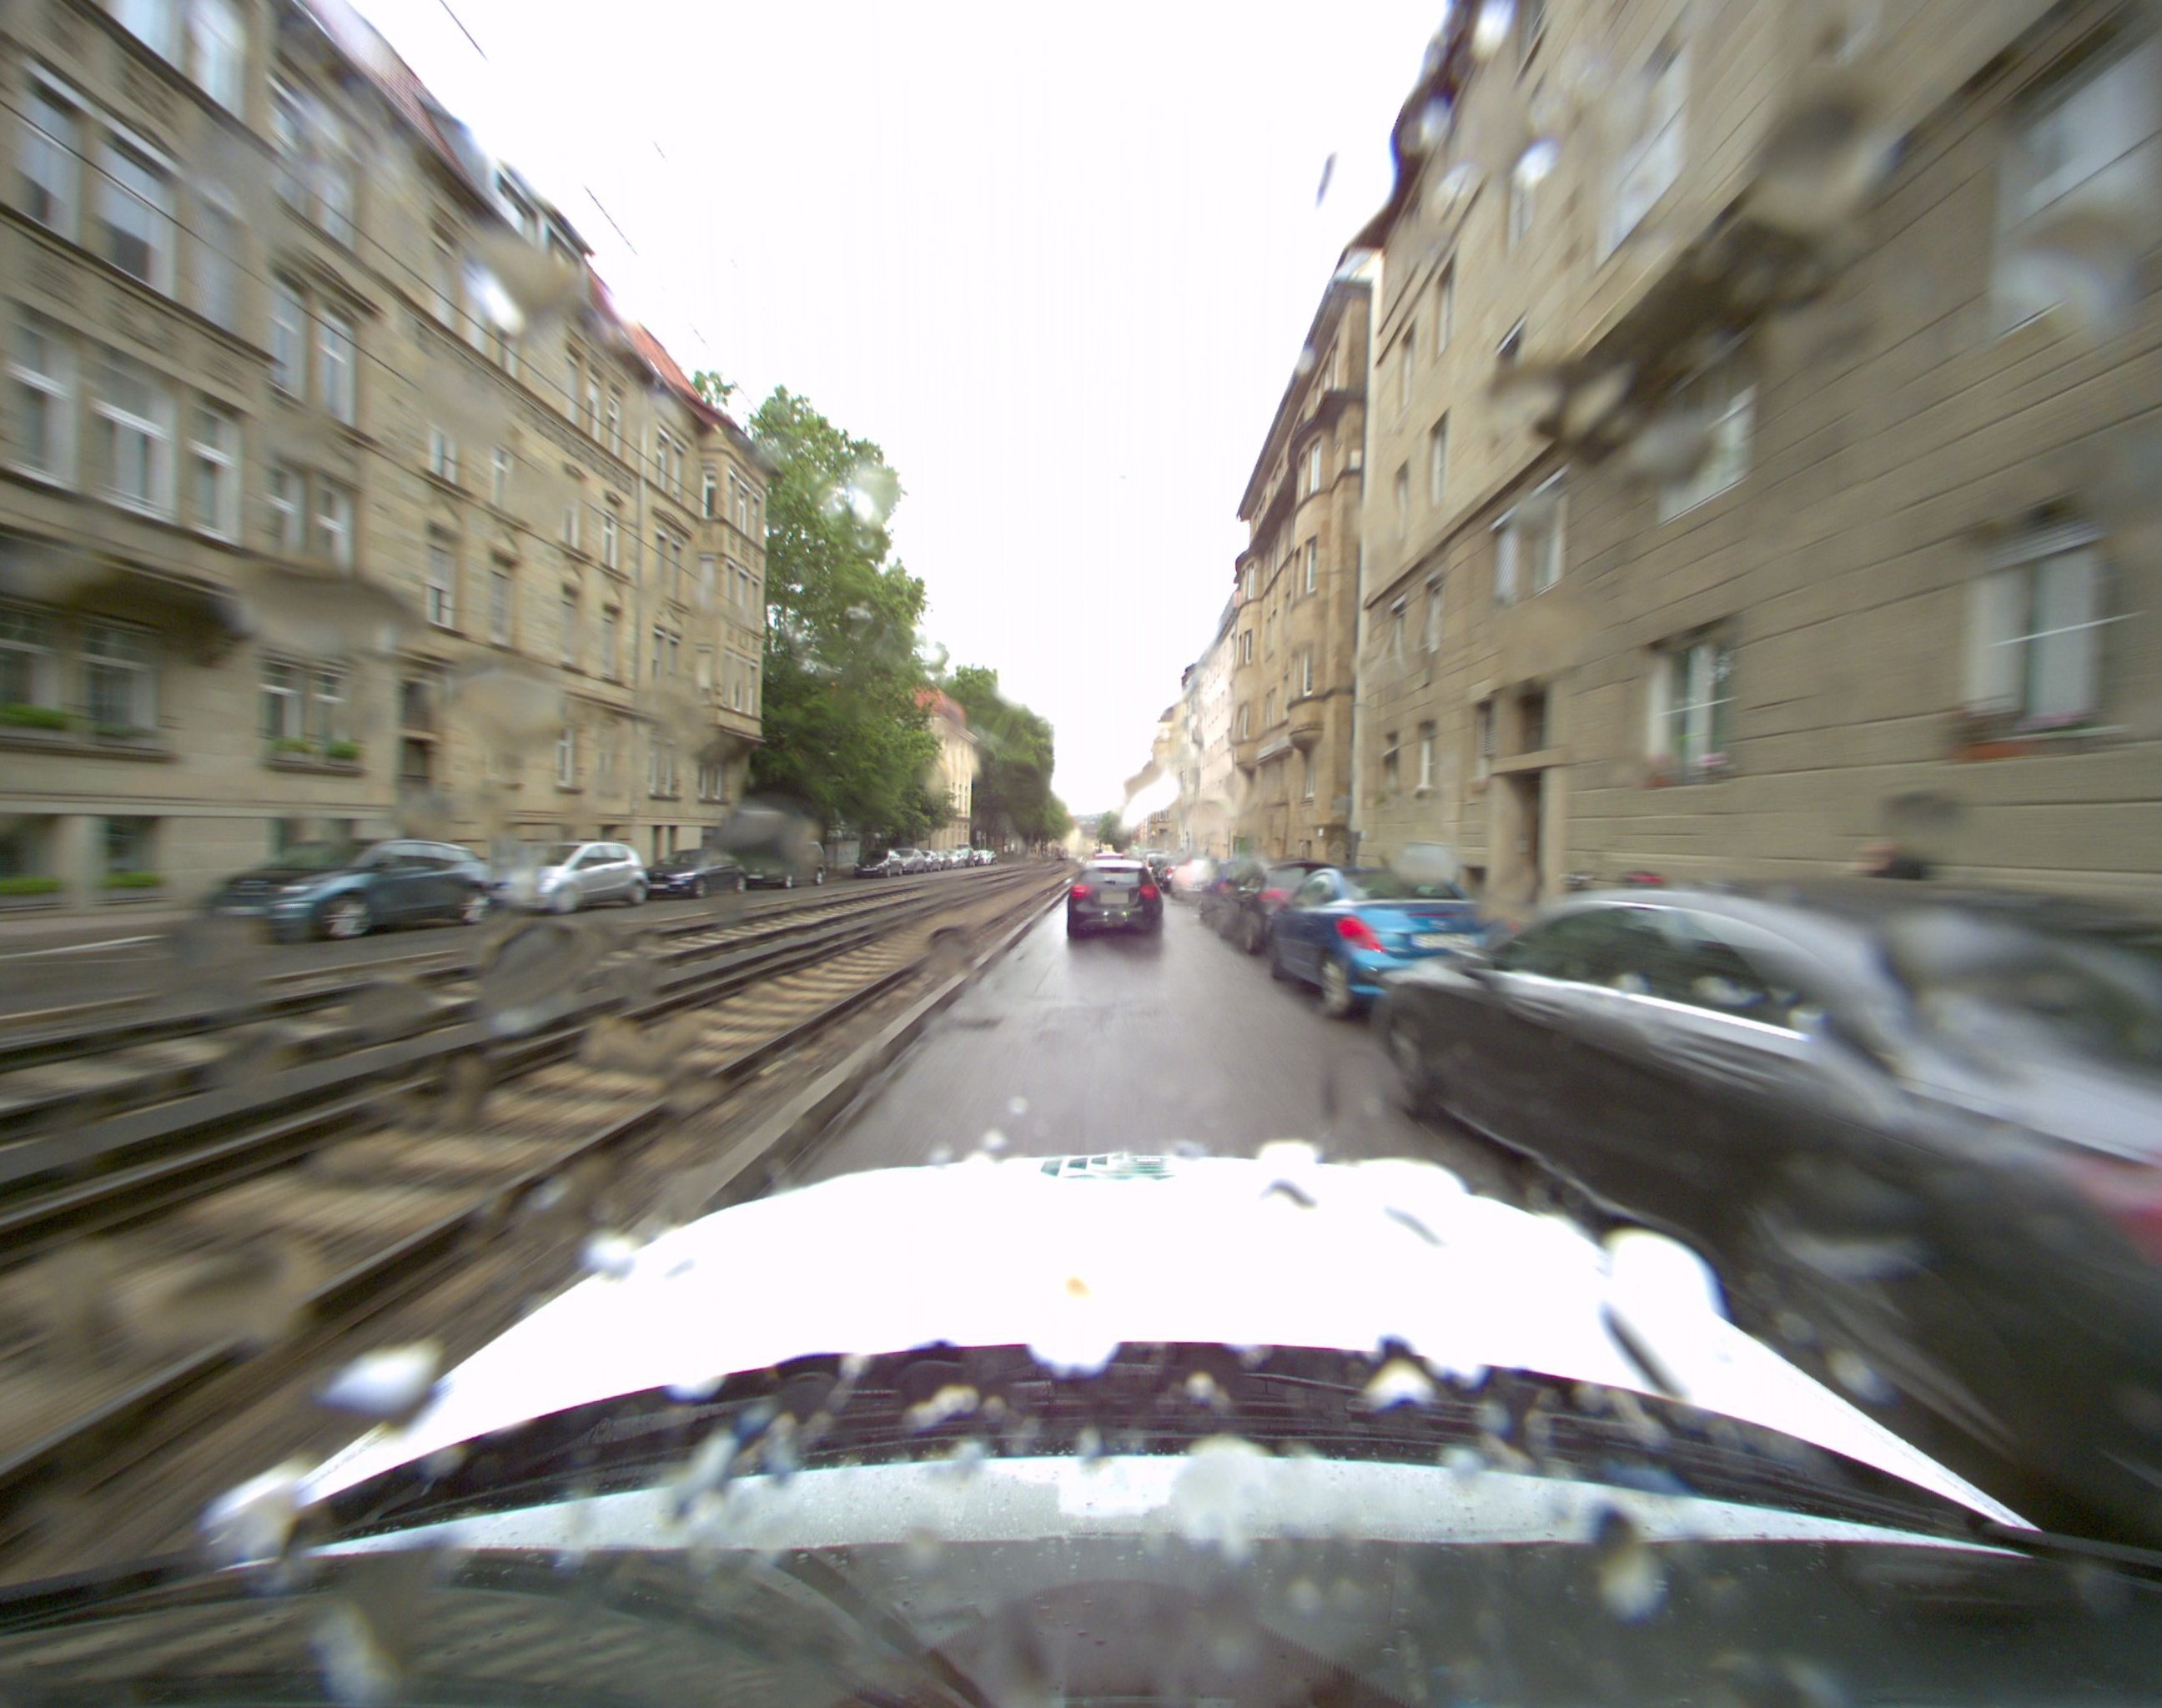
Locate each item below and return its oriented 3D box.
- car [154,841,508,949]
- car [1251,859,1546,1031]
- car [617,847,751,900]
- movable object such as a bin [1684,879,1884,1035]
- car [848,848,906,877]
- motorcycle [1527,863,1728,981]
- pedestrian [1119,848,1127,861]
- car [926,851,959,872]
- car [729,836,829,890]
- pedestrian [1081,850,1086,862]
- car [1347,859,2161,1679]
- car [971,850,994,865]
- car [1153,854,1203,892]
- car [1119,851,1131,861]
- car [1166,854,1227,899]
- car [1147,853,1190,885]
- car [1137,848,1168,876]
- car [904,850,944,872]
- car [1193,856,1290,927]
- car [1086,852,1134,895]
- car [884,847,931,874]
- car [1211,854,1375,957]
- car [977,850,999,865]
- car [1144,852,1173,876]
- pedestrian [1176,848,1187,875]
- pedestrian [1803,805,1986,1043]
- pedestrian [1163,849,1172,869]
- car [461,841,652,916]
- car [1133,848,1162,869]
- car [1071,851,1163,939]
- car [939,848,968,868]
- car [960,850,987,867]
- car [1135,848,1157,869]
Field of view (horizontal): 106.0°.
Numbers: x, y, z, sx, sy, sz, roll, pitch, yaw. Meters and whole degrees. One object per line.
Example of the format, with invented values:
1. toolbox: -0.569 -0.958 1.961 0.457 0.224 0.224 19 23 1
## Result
1. car: -11.926 0.567 13.434 1.863 1.508 4.171 0 0 2
2. car: 3.098 0.779 8.878 1.701 1.398 4.019 0 0 1
3. car: -11.513 0.515 23.978 1.756 1.398 4.270 0 0 1
4. movable object such as a bin: 5.619 0.782 6.592 0.662 1.103 1.124 1 0 2
5. car: -10.745 0.423 43.185 1.843 1.464 4.550 -1 0 0
6. motorcycle: 6.505 0.733 9.945 0.702 1.199 2.747 1 0 2
7. pedestrian: 6.372 0.069 124.670 1.135 1.998 1.172 -1 0 -2
8. car: -9.881 0.539 58.266 1.534 1.413 3.954 -1 0 1
9. car: -11.203 0.291 30.589 1.794 1.846 4.821 0 0 2
10. pedestrian: 0.375 0.302 119.688 0.802 1.633 0.893 -1 0 2
11. car: 2.749 0.752 3.369 1.749 1.387 4.483 -1 0 -1
12. car: -9.491 0.324 78.574 1.494 1.391 3.991 -1 0 3
13. car: 3.922 0.737 33.548 1.662 1.434 3.957 0 0 1
14. car: 7.368 0.388 136.683 1.820 1.618 3.866 -1 0 2
15. car: 3.923 0.735 28.053 1.585 1.434 3.683 0 0 0
16. car: 4.146 0.691 39.204 1.664 1.410 4.312 0 0 0
17. car: 4.720 0.497 54.132 1.784 1.765 4.213 0 0 1
18. car: -10.382 0.446 54.040 1.748 1.413 4.155 -1 0 1
19. car: 3.512 0.765 18.315 1.538 1.415 3.446 0 0 1
20. car: 1.169 0.737 32.668 1.778 1.581 4.002 1 0 2
21. car: -10.396 0.363 49.074 1.748 1.536 4.544 -1 0 1
22. car: 3.416 0.754 13.888 1.781 1.462 4.084 0 0 1
23. car: -9.428 0.321 82.777 1.608 1.429 3.854 0 1 2
24. car: 4.737 0.591 50.093 1.564 1.462 3.602 0 0 2
25. pedestrian: 6.575 0.467 53.410 0.605 1.763 0.689 -1 0 1
26. pedestrian: 5.601 0.453 5.647 0.559 1.535 0.710 1 0 2
27. pedestrian: 8.054 0.439 75.789 0.742 1.833 1.040 -2 0 3
28. car: -11.658 0.488 18.440 1.688 1.524 3.857 0 0 3
29. car: 4.810 0.320 59.479 1.865 1.455 4.904 1 0 1
30. car: 0.679 0.701 15.945 1.574 1.505 3.576 1 0 2
31. car: -9.949 0.303 63.767 1.534 1.505 4.155 -1 0 1
32. car: -9.717 0.387 73.832 1.667 1.413 4.013 -1 0 3
33. car: 5.463 0.369 68.929 1.820 1.750 4.471 1 0 4
